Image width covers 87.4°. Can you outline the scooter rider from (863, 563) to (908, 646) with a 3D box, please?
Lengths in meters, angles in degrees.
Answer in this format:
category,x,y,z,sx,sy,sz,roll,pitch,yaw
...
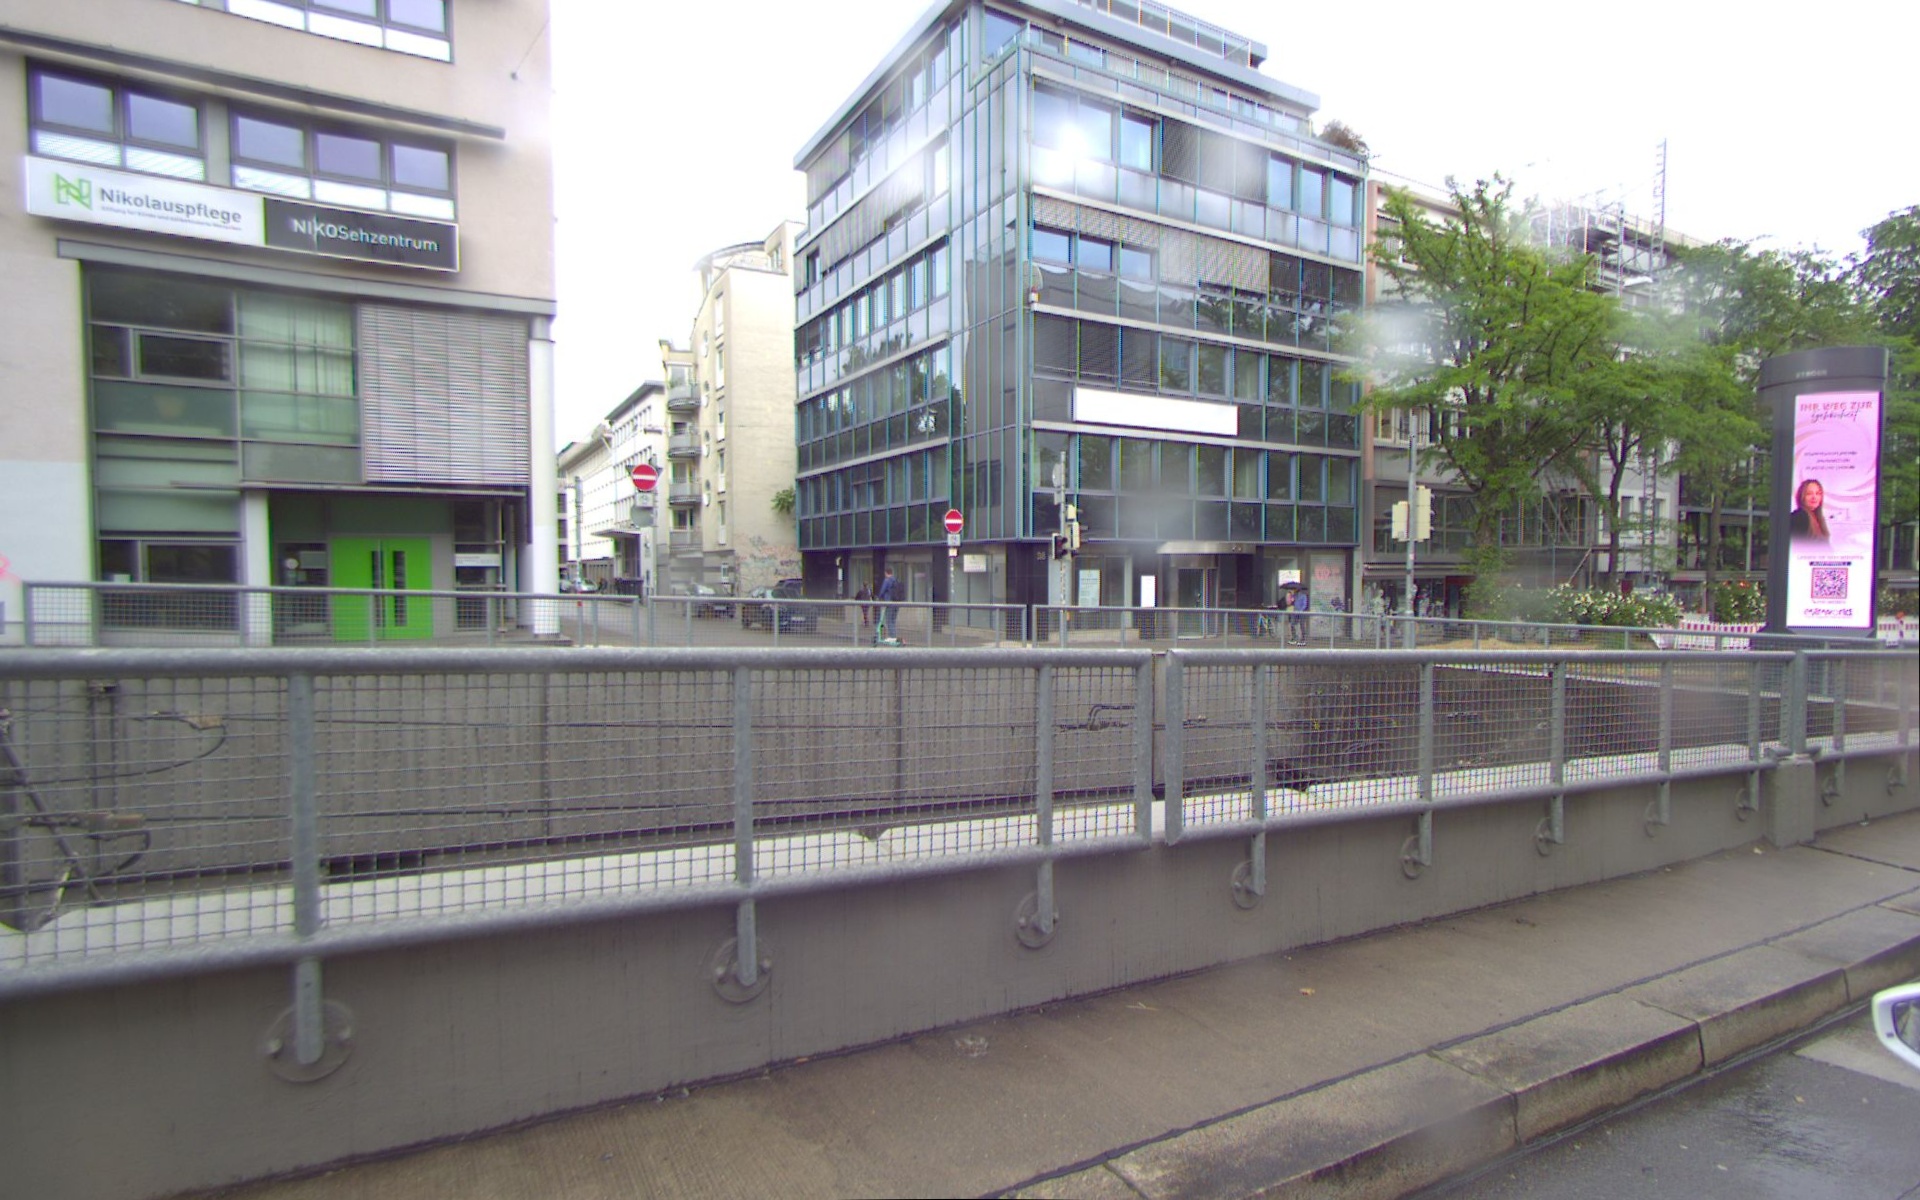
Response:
category,x,y,z,sx,sy,sz,roll,pitch,yaw
scooter rider,-1.827,0.108,24.754,0.806,1.974,0.811,2,2,19

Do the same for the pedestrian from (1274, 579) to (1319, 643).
category,x,y,z,sx,sy,sz,roll,pitch,yaw
pedestrian,10.205,0.334,30.449,0.857,1.893,0.872,1,2,-33

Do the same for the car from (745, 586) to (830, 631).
category,x,y,z,sx,sy,sz,roll,pitch,yaw
car,-6.092,0.257,35.136,1.788,1.445,3.868,1,0,-28

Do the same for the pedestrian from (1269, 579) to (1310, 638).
category,x,y,z,sx,sy,sz,roll,pitch,yaw
pedestrian,10.832,0.275,33.033,0.943,1.893,0.865,1,2,-11

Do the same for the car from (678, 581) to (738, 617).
category,x,y,z,sx,sy,sz,roll,pitch,yaw
car,-11.117,-0.067,44.176,1.672,1.445,3.868,1,0,-28

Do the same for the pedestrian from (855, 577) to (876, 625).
category,x,y,z,sx,sy,sz,roll,pitch,yaw
pedestrian,-3.361,0.039,35.595,0.482,1.694,0.661,1,1,-30

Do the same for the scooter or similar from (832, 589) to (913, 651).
category,x,y,z,sx,sy,sz,roll,pitch,yaw
scooter or similar,-2.173,0.481,24.944,1.916,1.438,0.547,2,1,19

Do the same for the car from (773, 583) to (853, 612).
category,x,y,z,sx,sy,sz,roll,pitch,yaw
car,-7.814,-0.138,53.359,3.846,1.445,1.799,1,1,-27
